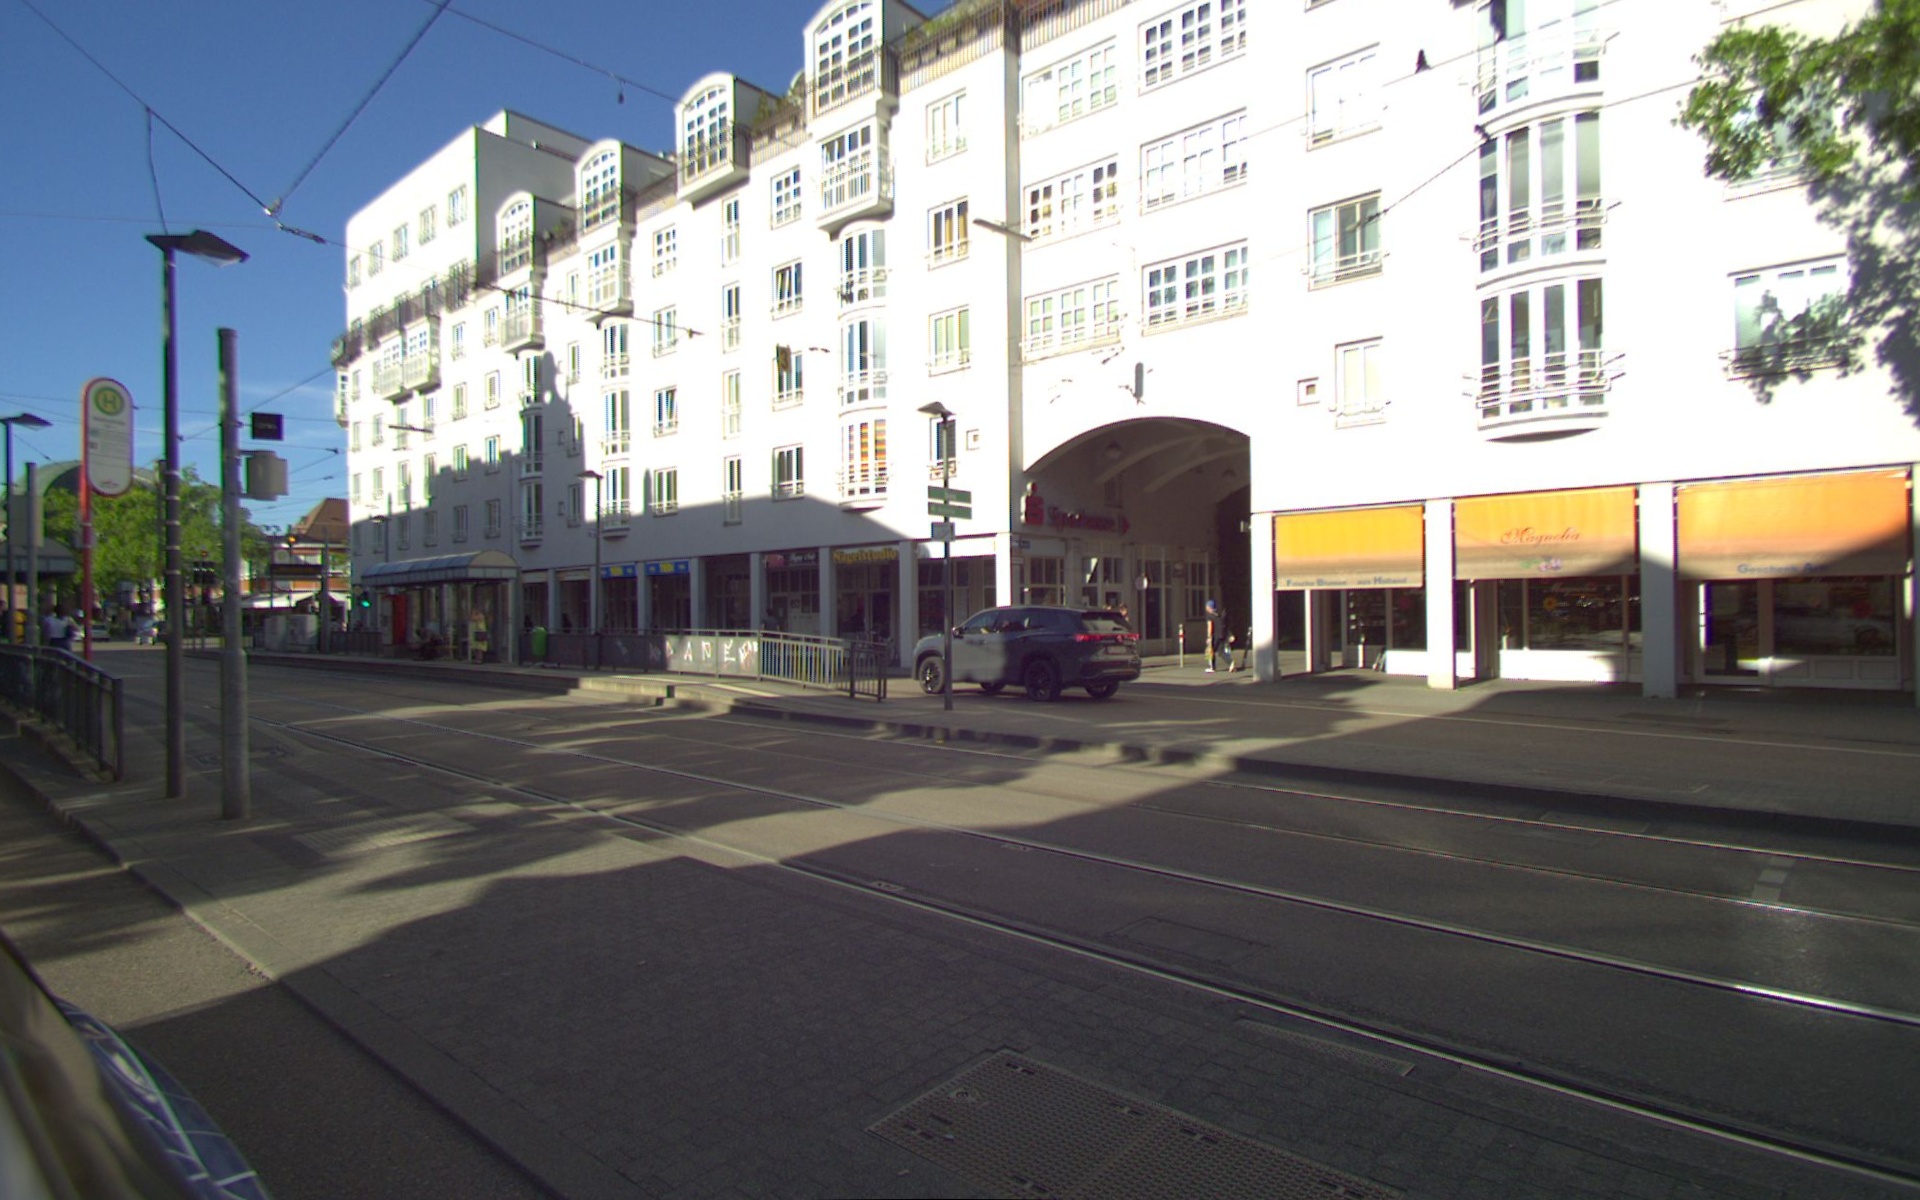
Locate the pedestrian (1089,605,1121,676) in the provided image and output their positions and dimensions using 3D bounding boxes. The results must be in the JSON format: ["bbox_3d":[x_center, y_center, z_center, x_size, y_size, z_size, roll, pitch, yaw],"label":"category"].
[{"bbox_3d":[3.441,0.956,24.055,0.522,1.657,0.556,-1,-1,41],"label":"pedestrian"}]

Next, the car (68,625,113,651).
[{"bbox_3d":[-66.961,2.895,77.932,3.995,1.918,1.974,-1,-1,39],"label":"car"}]

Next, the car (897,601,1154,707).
[{"bbox_3d":[1.040,0.929,18.401,1.758,1.681,4.776,1,-2,-42],"label":"car"}]

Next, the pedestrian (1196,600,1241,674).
[{"bbox_3d":[5.936,0.846,23.201,0.731,1.657,0.737,-1,-1,41],"label":"pedestrian"}]

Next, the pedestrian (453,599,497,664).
[{"bbox_3d":[-12.613,0.803,26.297,0.747,1.657,0.784,-2,-1,41],"label":"pedestrian"}]

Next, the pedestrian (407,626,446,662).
[{"bbox_3d":[-15.380,1.259,29.159,0.747,0.995,0.784,1,1,41],"label":"pedestrian"}]

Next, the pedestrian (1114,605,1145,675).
[{"bbox_3d":[4.079,0.946,24.370,0.522,1.657,0.556,-1,-1,41],"label":"pedestrian"}]

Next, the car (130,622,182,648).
[{"bbox_3d":[-52.430,2.278,65.966,3.998,1.630,1.972,-2,-1,42],"label":"car"}]

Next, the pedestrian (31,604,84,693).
[{"bbox_3d":[-17.076,0.903,19.150,0.400,1.657,0.707,-2,-1,43],"label":"pedestrian"}]
